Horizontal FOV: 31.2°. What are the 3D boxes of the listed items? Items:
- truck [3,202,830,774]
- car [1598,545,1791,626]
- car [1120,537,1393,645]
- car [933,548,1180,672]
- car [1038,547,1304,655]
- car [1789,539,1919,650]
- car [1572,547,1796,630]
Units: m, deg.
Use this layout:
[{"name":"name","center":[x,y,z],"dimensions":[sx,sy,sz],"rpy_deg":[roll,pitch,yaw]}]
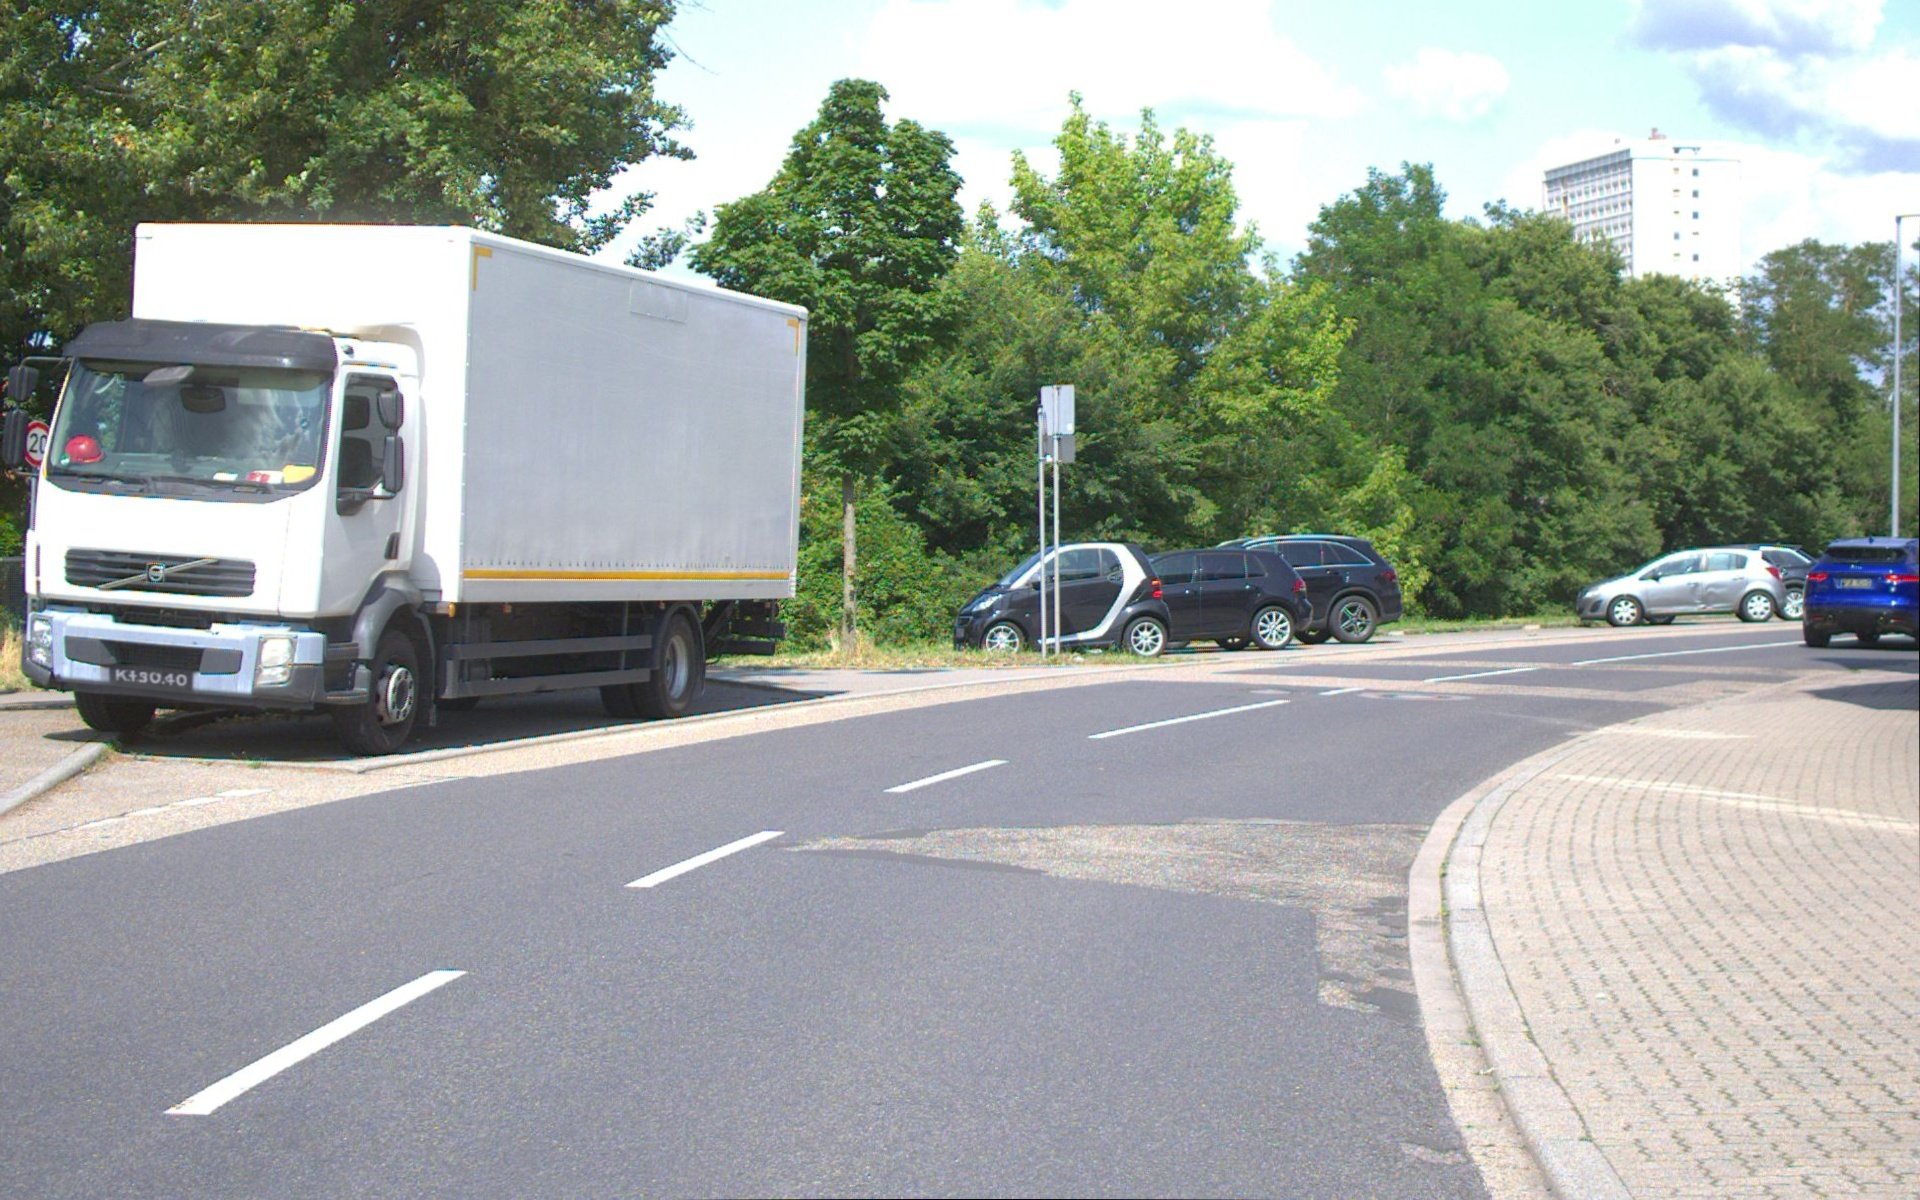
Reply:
[{"name":"truck","center":[-3.648,-0.810,26.194],"dimensions":[2.323,3.555,9.360],"rpy_deg":[2,2,17]},{"name":"car","center":[14.632,-0.280,68.596],"dimensions":[3.578,1.564,1.741],"rpy_deg":[0,0,5]},{"name":"car","center":[4.438,-0.130,51.615],"dimensions":[3.627,1.564,1.890],"rpy_deg":[1,0,-17]},{"name":"car","center":[1.240,0.130,44.977],"dimensions":[2.897,1.564,1.890],"rpy_deg":[0,0,-10]},{"name":"car","center":[2.947,0.004,48.187],"dimensions":[3.322,1.470,1.705],"rpy_deg":[0,1,-18]},{"name":"car","center":[14.031,-0.078,52.070],"dimensions":[1.912,1.588,4.694],"rpy_deg":[1,0,26]},{"name":"car","center":[13.942,-0.222,66.403],"dimensions":[4.046,1.564,1.741],"rpy_deg":[0,0,5]}]
